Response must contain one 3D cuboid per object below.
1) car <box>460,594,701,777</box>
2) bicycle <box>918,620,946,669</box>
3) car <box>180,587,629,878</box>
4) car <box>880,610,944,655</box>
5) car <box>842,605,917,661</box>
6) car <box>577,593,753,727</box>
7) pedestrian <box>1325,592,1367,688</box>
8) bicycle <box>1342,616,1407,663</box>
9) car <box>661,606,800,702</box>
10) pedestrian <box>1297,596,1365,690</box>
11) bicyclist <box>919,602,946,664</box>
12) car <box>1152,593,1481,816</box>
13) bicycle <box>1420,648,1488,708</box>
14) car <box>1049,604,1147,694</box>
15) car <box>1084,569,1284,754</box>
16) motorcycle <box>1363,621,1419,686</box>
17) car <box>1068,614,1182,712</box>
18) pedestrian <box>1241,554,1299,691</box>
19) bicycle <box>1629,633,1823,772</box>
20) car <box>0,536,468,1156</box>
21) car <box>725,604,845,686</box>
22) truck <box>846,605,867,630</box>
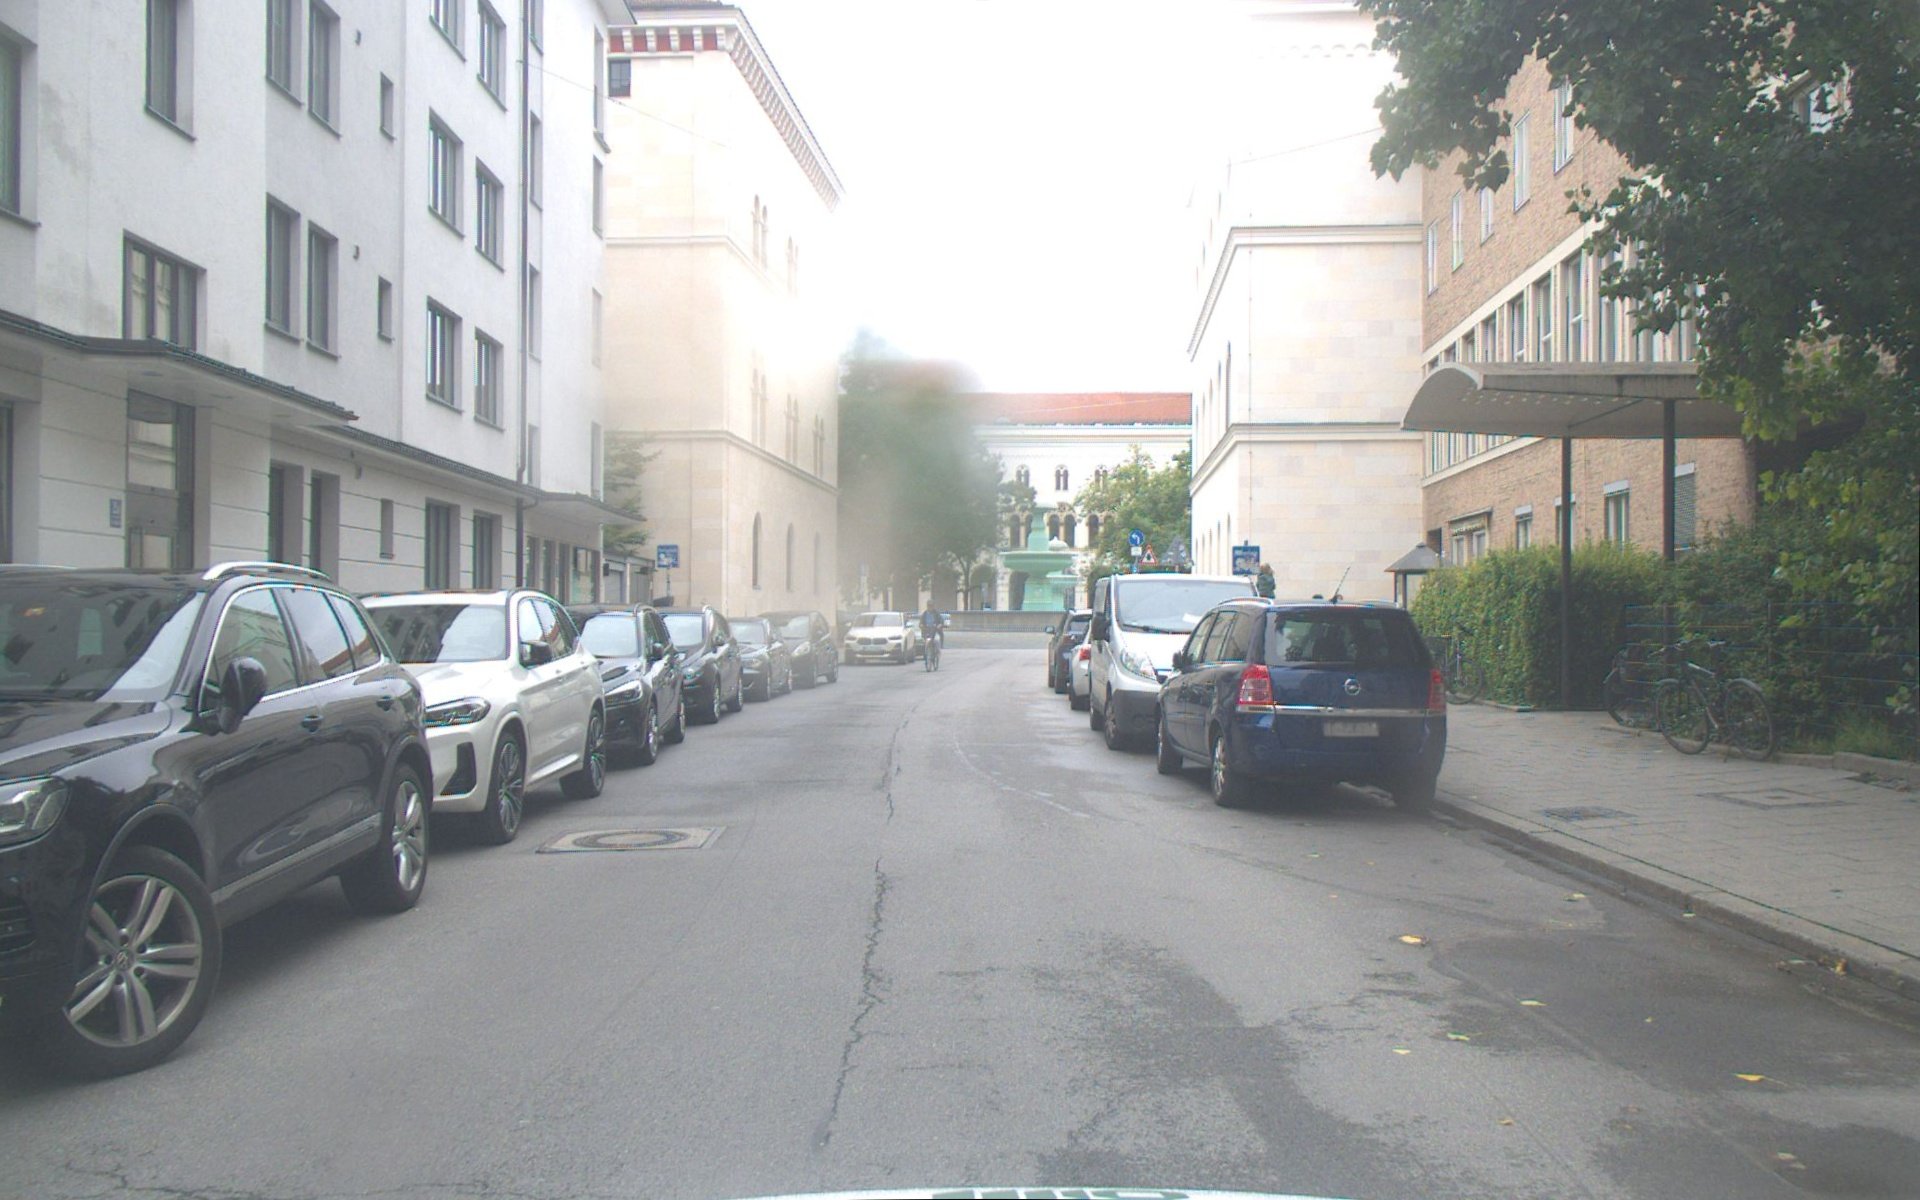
[{"bbox_3d":[-4.003,0.812,18.198,1.835,1.687,4.587,-1,0,-4],"label":"car"},{"bbox_3d":[-0.704,1.137,42.482,0.635,1.218,1.950,-1,0,1],"label":"bicycle"},{"bbox_3d":[-3.781,0.772,12.198,1.834,1.687,4.589,-1,0,-2],"label":"car"},{"bbox_3d":[-1.567,1.100,55.644,1.663,1.417,4.213,-1,-1,4],"label":"car"},{"bbox_3d":[-2.357,0.971,49.290,1.741,1.562,4.213,-1,-1,3],"label":"car"},{"bbox_3d":[-4.140,0.780,23.822,1.834,1.687,4.079,-1,0,-1],"label":"car"},{"bbox_3d":[6.865,0.701,29.456,0.575,1.661,0.877,1,0,4],"label":"pedestrian"},{"bbox_3d":[9.674,0.923,38.618,1.399,1.060,0.348,-1,0,3],"label":"bicycle"},{"bbox_3d":[-3.976,0.897,29.254,1.714,1.479,4.017,-1,0,2],"label":"car"},{"bbox_3d":[6.294,0.720,28.068,0.935,1.574,0.671,0,0,-17],"label":"pedestrian"},{"bbox_3d":[-0.699,0.841,42.623,0.643,1.578,0.888,0,-1,2],"label":"bicyclist"},{"bbox_3d":[2.863,0.765,14.228,1.771,1.628,4.213,0,0,-2],"label":"car"},{"bbox_3d":[7.446,1.163,24.978,0.506,0.832,1.432,-1,0,-4],"label":"bicycle"},{"bbox_3d":[2.632,0.914,32.317,1.711,1.621,3.957,1,0,2],"label":"car"},{"bbox_3d":[2.553,0.652,19.939,1.843,1.958,4.875,0,0,1],"label":"car"},{"bbox_3d":[7.624,0.926,29.323,0.478,1.072,1.924,1,0,0],"label":"motorcycle"},{"bbox_3d":[2.641,0.978,27.280,1.638,1.442,4.202,1,0,3],"label":"car"},{"bbox_3d":[5.150,0.368,27.486,0.777,2.236,0.813,1,0,-1],"label":"pedestrian"},{"bbox_3d":[6.725,0.858,14.654,0.656,1.092,2.223,0,0,-1],"label":"bicycle"},{"bbox_3d":[-3.584,0.685,6.807,1.834,1.717,4.519,-1,0,-2],"label":"car"},{"bbox_3d":[-3.533,0.876,34.014,1.713,1.479,4.018,-1,0,5],"label":"car"},{"bbox_3d":[-10.859,1.863,173.639,1.955,2.532,3.994,1,0,-6],"label":"truck"}]
